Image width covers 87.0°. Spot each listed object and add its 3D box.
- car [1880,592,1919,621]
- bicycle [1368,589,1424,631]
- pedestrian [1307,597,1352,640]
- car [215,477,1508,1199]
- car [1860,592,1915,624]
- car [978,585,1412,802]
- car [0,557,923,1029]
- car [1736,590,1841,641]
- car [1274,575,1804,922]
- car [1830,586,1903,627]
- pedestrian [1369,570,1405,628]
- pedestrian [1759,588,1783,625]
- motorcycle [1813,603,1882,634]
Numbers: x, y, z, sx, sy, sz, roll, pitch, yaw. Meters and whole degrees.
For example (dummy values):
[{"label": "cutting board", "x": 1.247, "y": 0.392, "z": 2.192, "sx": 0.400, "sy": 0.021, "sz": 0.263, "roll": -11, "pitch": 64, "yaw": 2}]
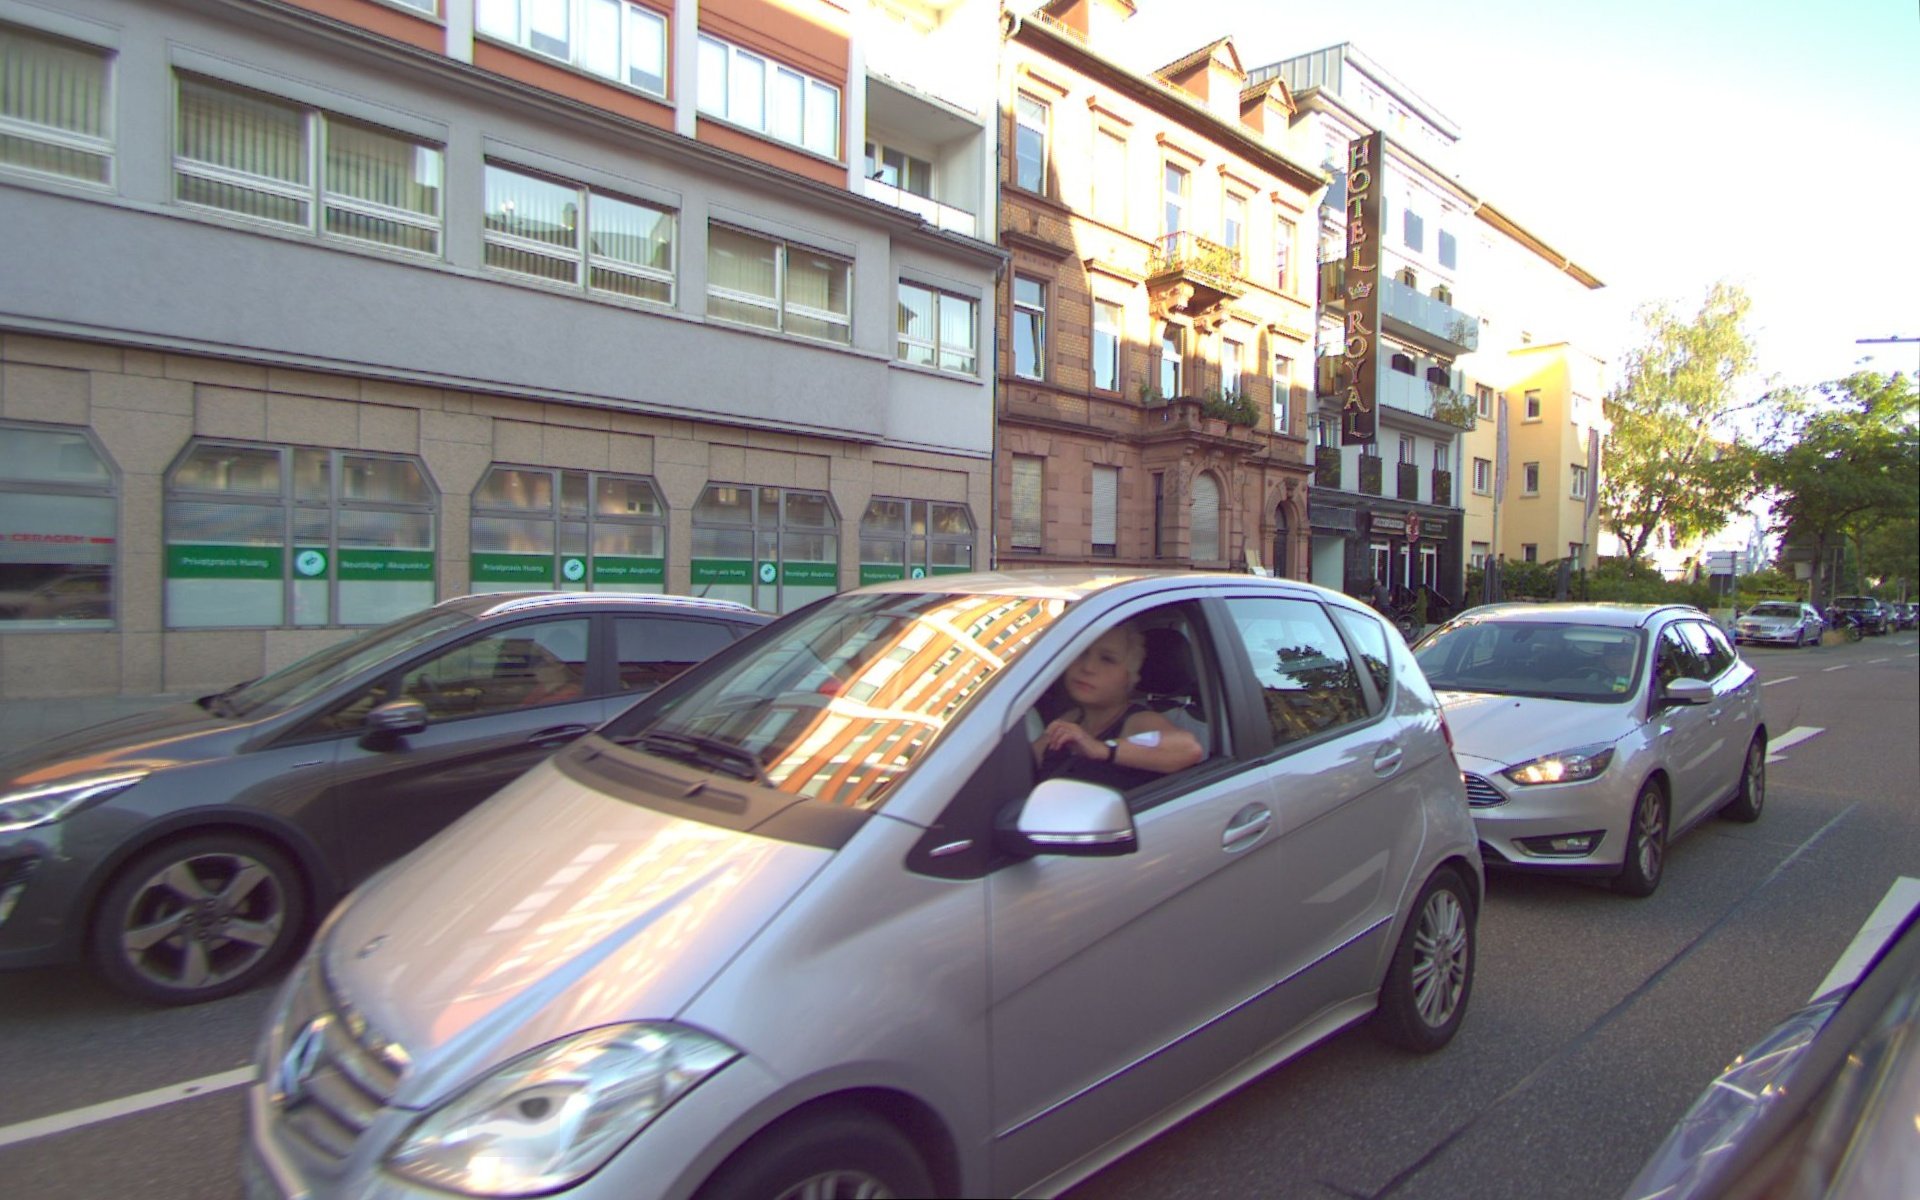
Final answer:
[{"label": "car", "x": 51.437, "y": 0.349, "z": 54.913, "sx": 4.407, "sy": 1.466, "sz": 1.773, "roll": 0, "pitch": 2, "yaw": -42}, {"label": "bicycle", "x": 12.822, "y": 0.289, "z": 29.758, "sx": 1.415, "sy": 1.124, "sz": 0.483, "roll": 4, "pitch": 2, "yaw": 32}, {"label": "pedestrian", "x": 9.481, "y": 0.458, "z": 25.946, "sx": 0.927, "sy": 1.056, "sz": 0.693, "roll": 0, "pitch": 1, "yaw": -38}, {"label": "car", "x": 0.036, "y": 0.623, "z": 3.084, "sx": 3.557, "sy": 1.588, "sz": 1.806, "roll": 0, "pitch": 1, "yaw": -43}, {"label": "car", "x": 46.358, "y": 0.363, "z": 50.564, "sx": 4.358, "sy": 1.490, "sz": 1.718, "roll": 0, "pitch": 2, "yaw": -44}, {"label": "car", "x": 2.247, "y": 0.638, "z": 9.017, "sx": 4.086, "sy": 1.475, "sz": 1.710, "roll": 0, "pitch": 1, "yaw": -42}, {"label": "car", "x": -2.305, "y": 0.609, "z": 5.011, "sx": 4.166, "sy": 1.503, "sz": 1.653, "roll": 0, "pitch": 0, "yaw": -42}, {"label": "car", "x": 28.127, "y": 0.472, "z": 34.317, "sx": 4.748, "sy": 1.531, "sz": 1.860, "roll": 0, "pitch": 3, "yaw": -40}, {"label": "car", "x": 3.930, "y": 0.646, "z": 6.520, "sx": 4.234, "sy": 1.529, "sz": 1.710, "roll": 0, "pitch": 0, "yaw": -42}, {"label": "car", "x": 40.017, "y": 0.264, "z": 44.645, "sx": 4.714, "sy": 1.675, "sz": 1.950, "roll": 0, "pitch": 1, "yaw": -43}, {"label": "pedestrian", "x": 12.470, "y": -0.028, "z": 29.551, "sx": 0.681, "sy": 1.664, "sz": 0.708, "roll": 0, "pitch": 1, "yaw": -42}, {"label": "pedestrian", "x": 36.287, "y": 0.271, "z": 45.299, "sx": 0.570, "sy": 1.636, "sz": 0.747, "roll": 0, "pitch": 1, "yaw": -43}, {"label": "motorcycle", "x": 34.115, "y": 0.701, "z": 38.921, "sx": 1.921, "sy": 1.084, "sz": 0.809, "roll": 1, "pitch": 1, "yaw": 38}]
